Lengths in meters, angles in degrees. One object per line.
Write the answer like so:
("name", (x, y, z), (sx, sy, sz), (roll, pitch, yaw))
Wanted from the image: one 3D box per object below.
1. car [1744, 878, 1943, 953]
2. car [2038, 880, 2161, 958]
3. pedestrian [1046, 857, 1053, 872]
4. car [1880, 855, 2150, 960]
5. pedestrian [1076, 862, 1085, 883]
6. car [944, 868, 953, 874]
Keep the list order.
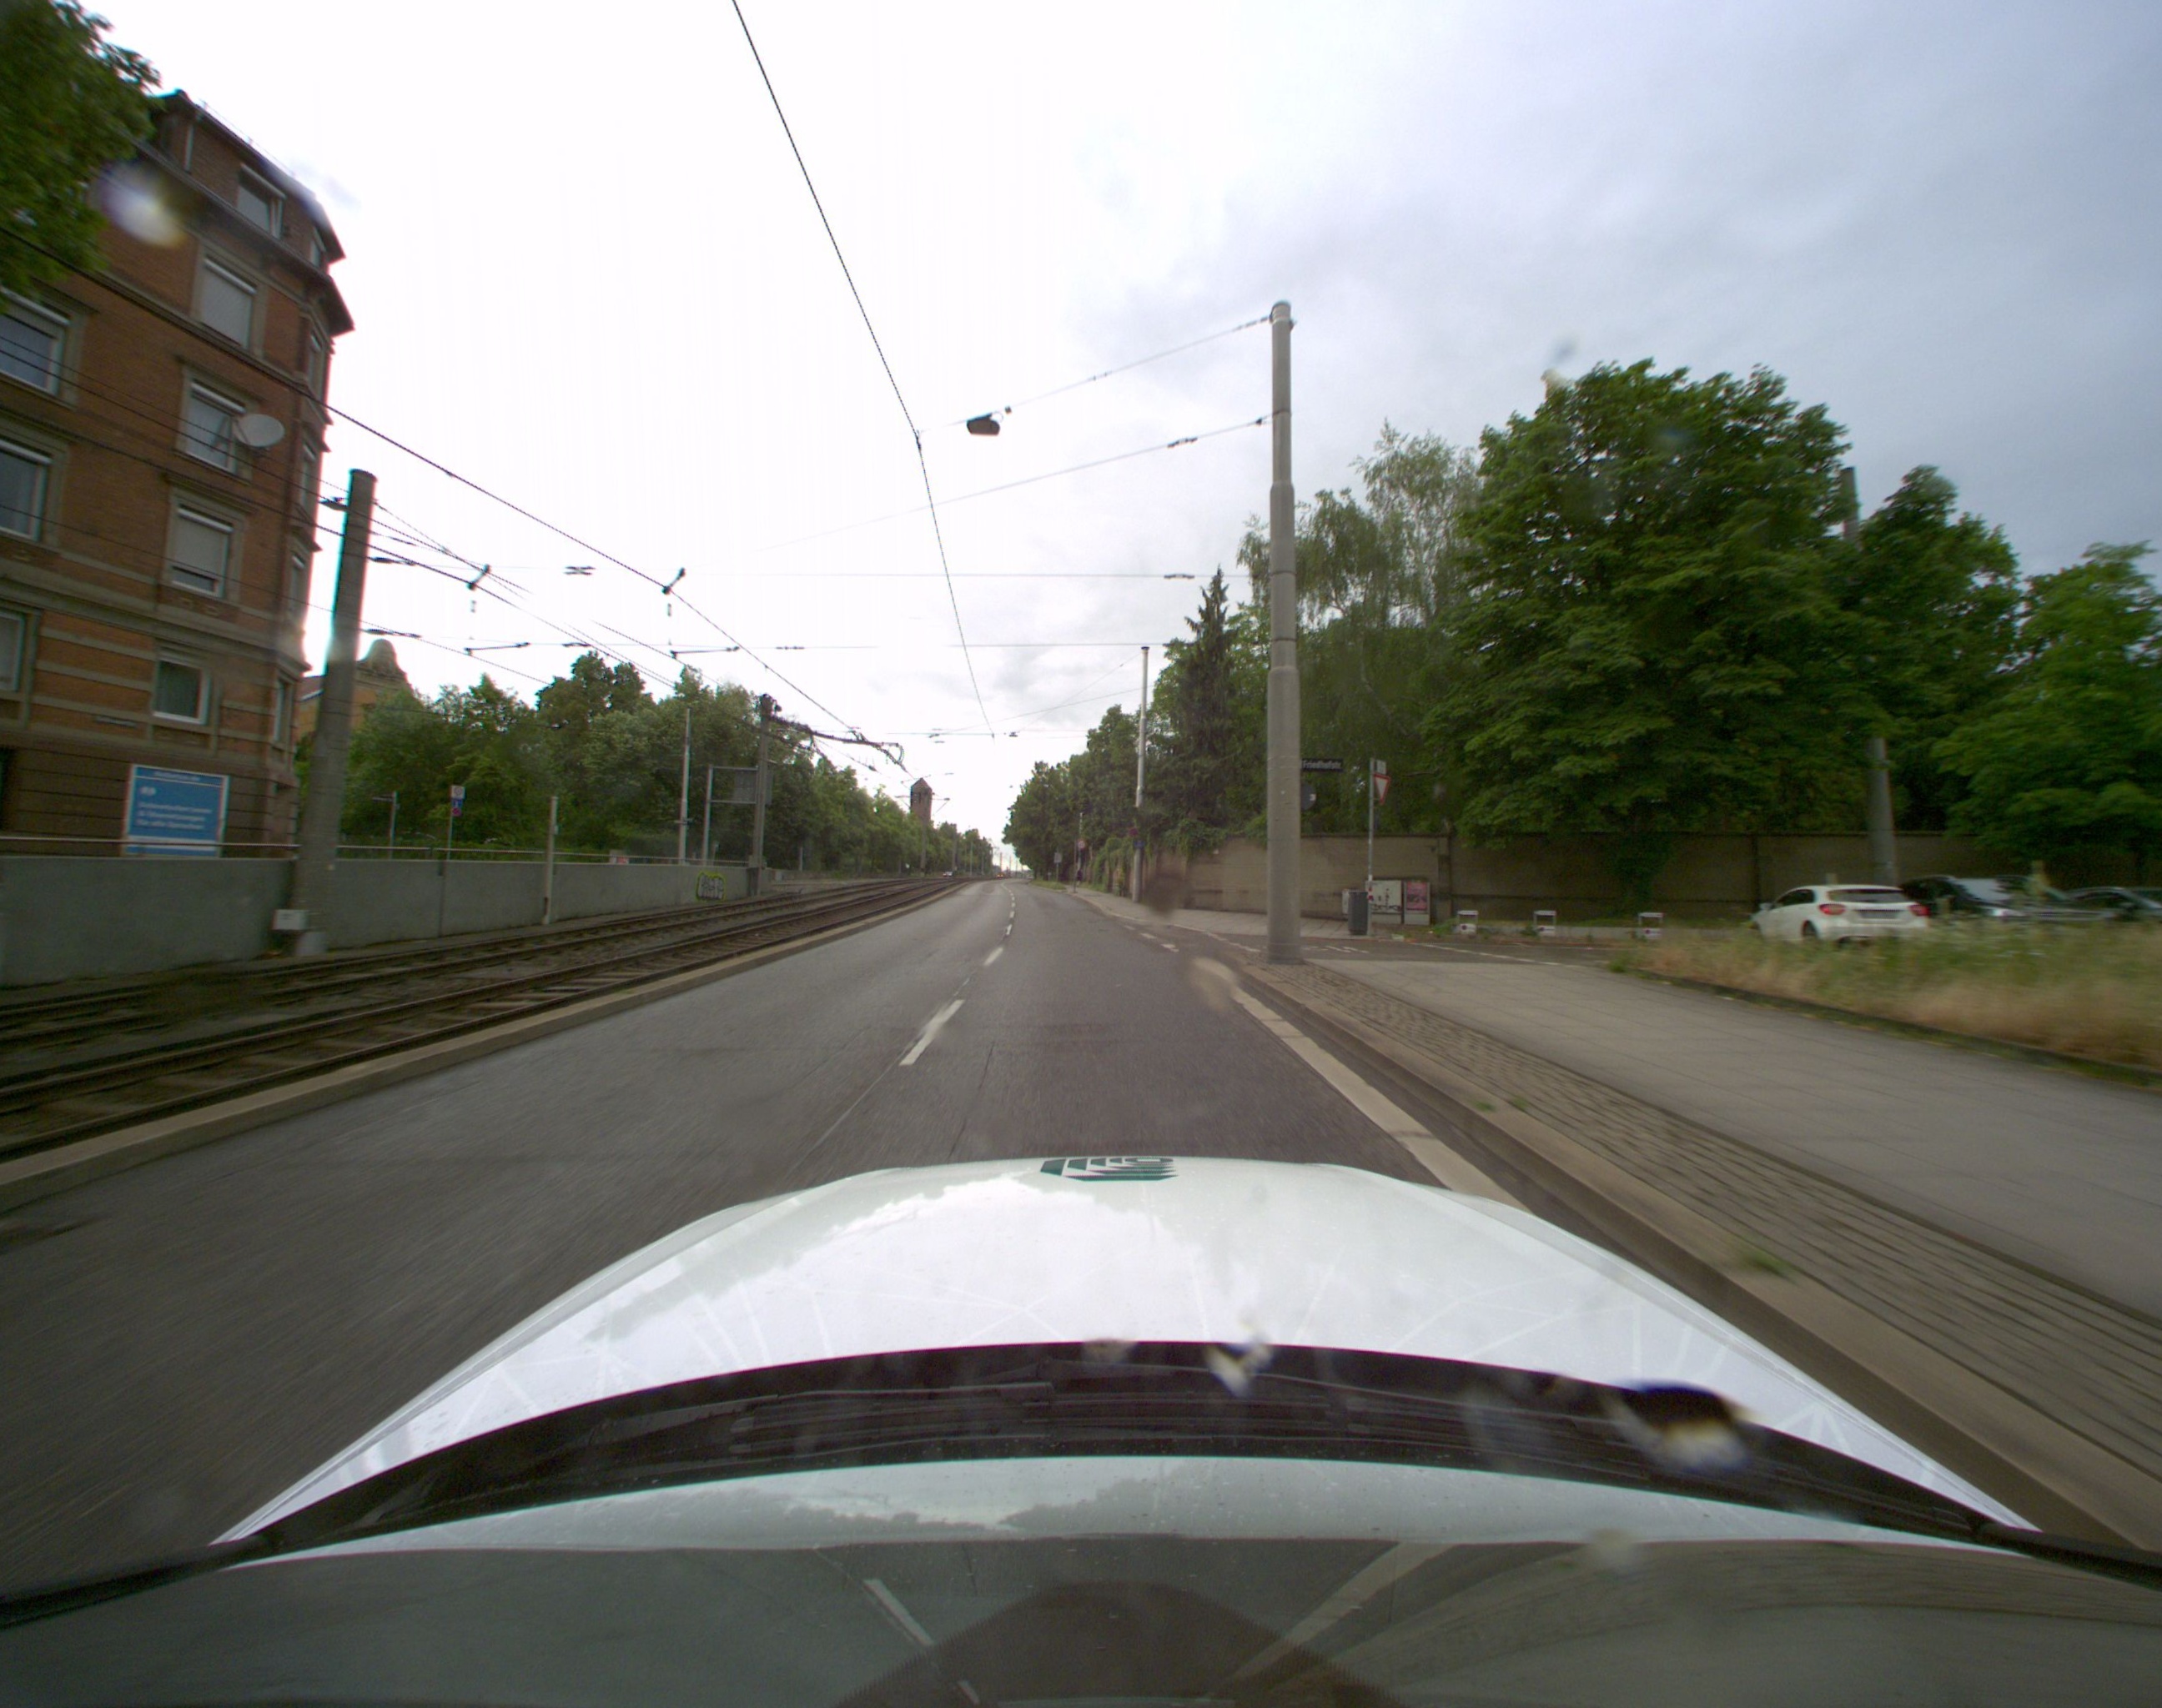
("car", (16.158, 1.271, 17.544), (1.738, 1.406, 4.020), (0, -3, 21))
("car", (20.667, 1.209, 15.306), (1.768, 1.391, 4.020), (-1, -3, 22))
("pedestrian", (-3.554, 1.188, 91.859), (0.718, 1.687, 0.728), (3, -2, -4))
("car", (18.331, 1.032, 16.325), (1.738, 1.804, 4.295), (0, -3, 21))
("pedestrian", (-0.062, 1.635, 71.599), (0.718, 1.850, 0.782), (3, -2, -4))
("car", (-33.241, 4.244, 203.829), (1.791, 1.510, 3.843), (1, -1, -4))
